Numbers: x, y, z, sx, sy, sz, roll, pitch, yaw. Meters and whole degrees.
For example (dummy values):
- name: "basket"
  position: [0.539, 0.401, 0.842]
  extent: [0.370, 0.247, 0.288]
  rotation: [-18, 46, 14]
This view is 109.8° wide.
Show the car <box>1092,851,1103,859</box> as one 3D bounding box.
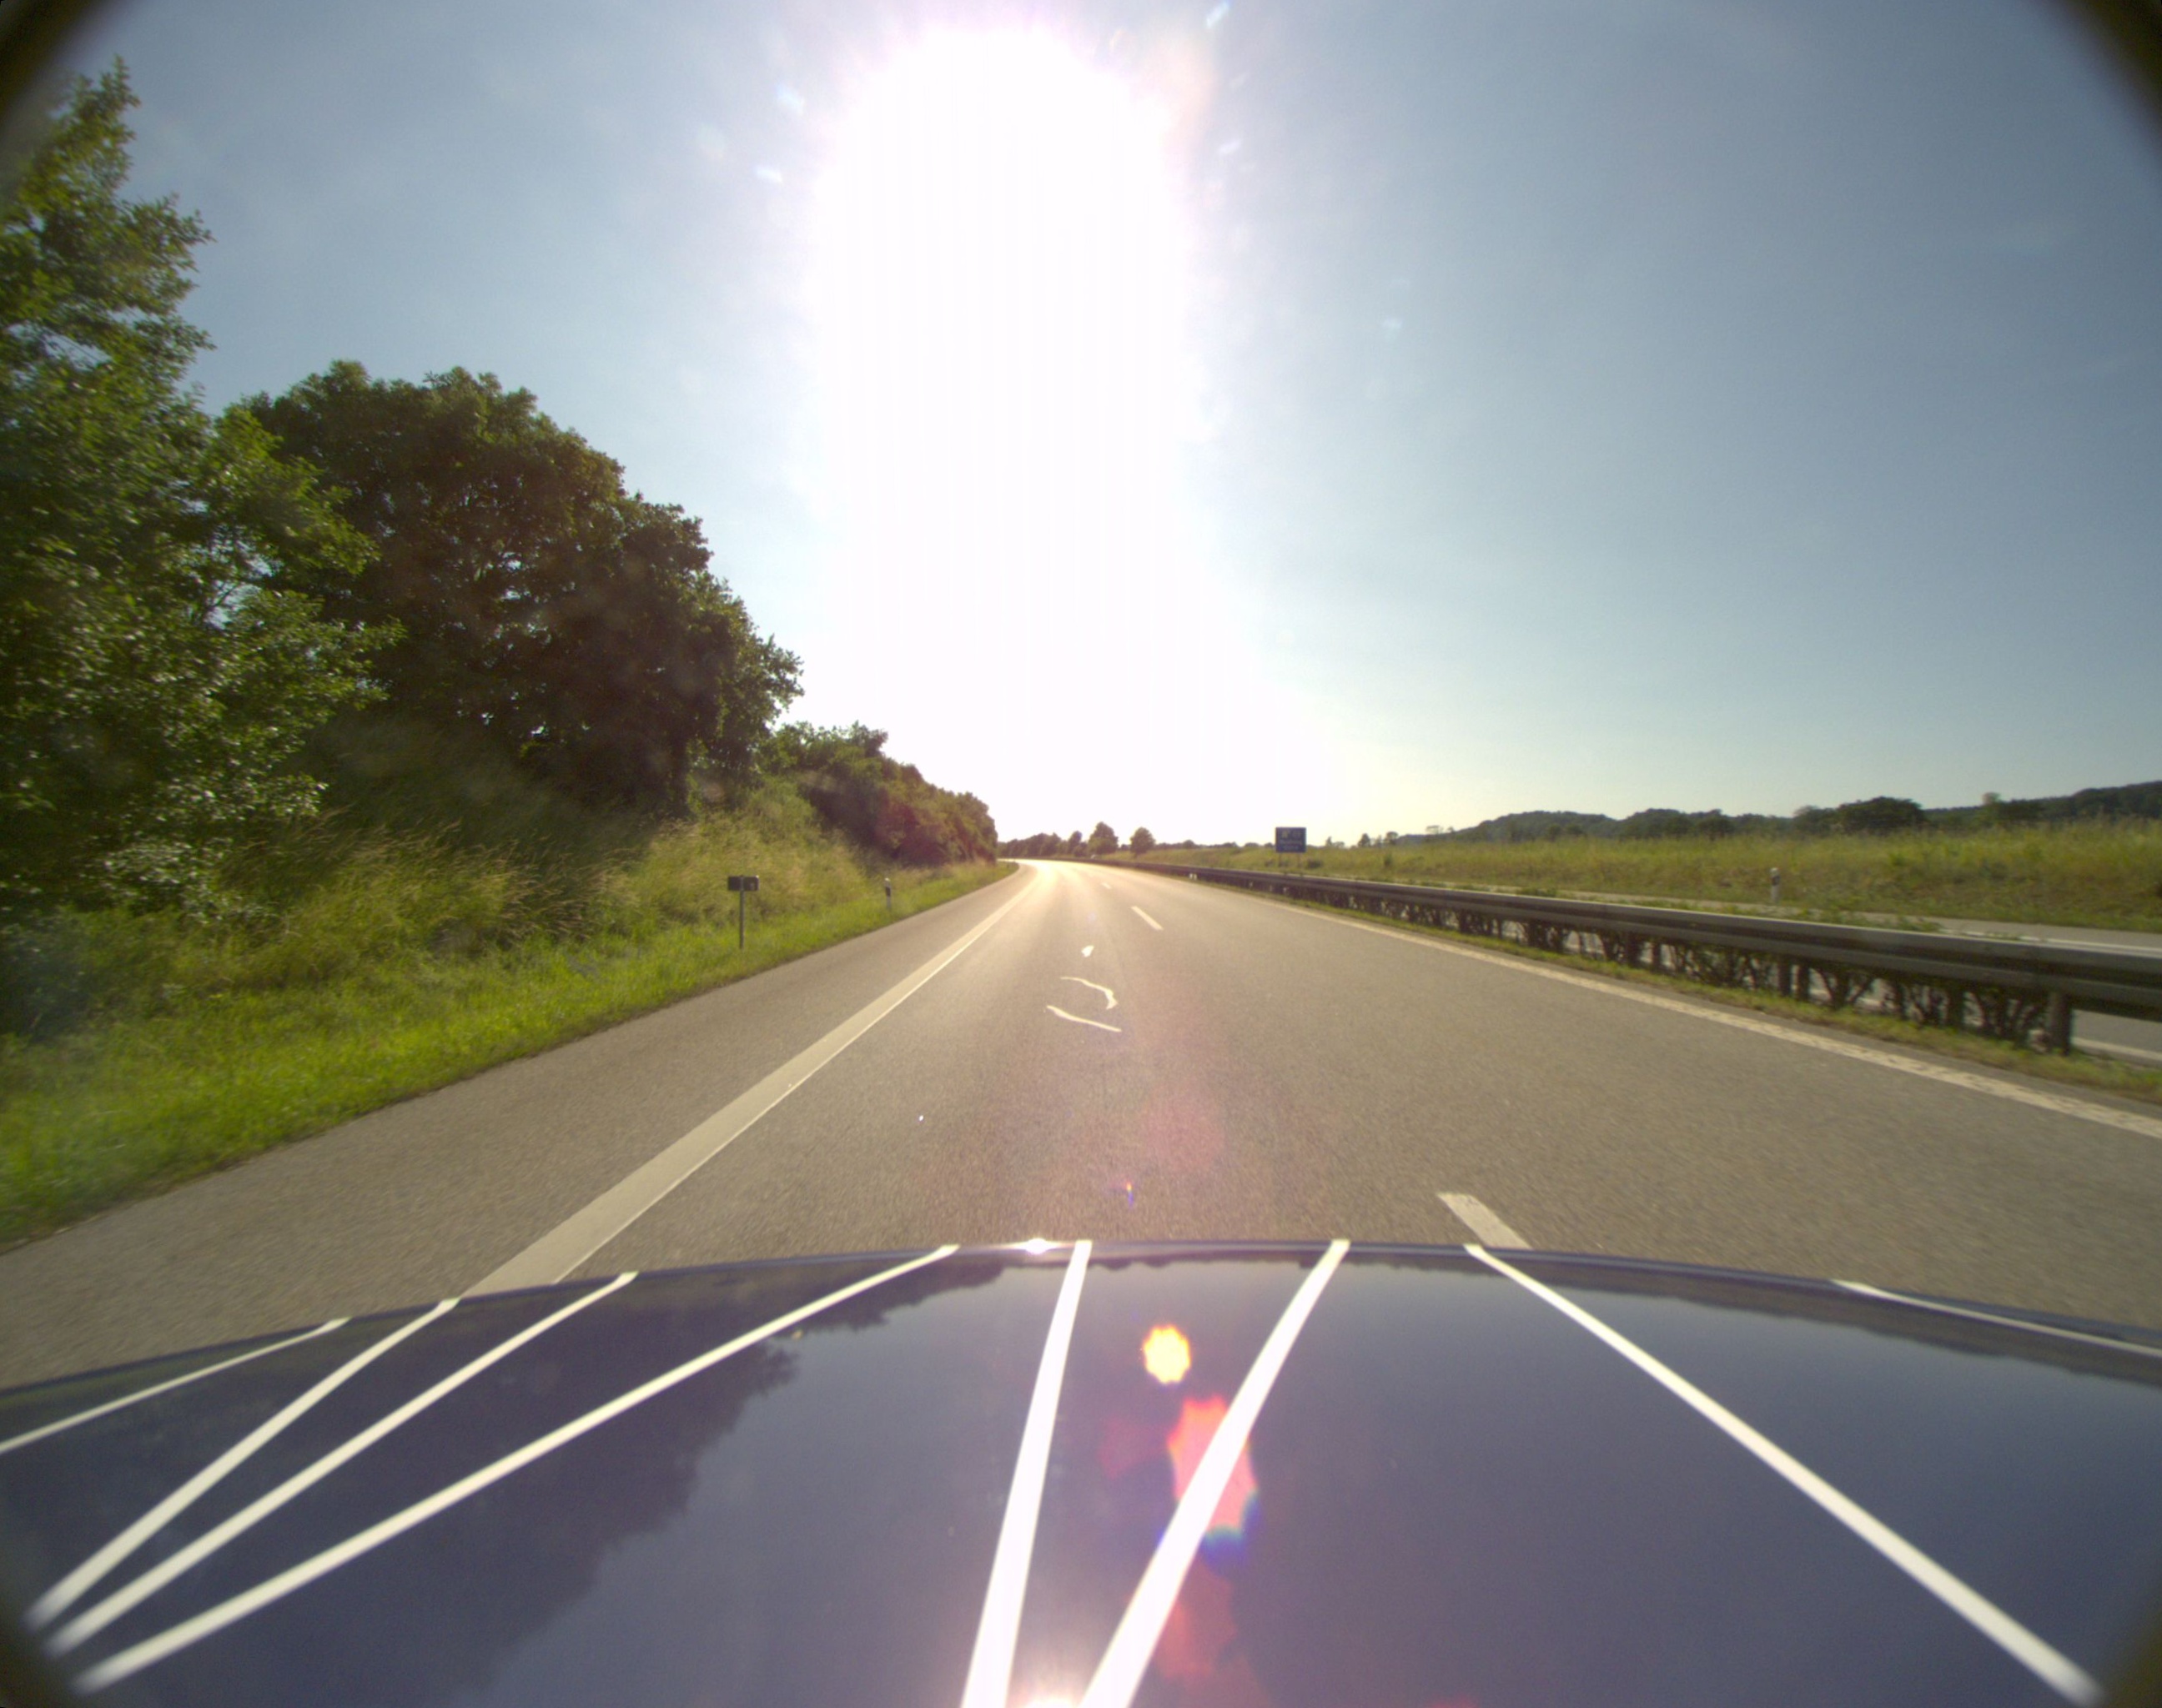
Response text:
- name: "car"
  position: [3.671, 0.200, 168.058]
  extent: [1.771, 1.613, 5.005]
  rotation: [2, 0, -6]
